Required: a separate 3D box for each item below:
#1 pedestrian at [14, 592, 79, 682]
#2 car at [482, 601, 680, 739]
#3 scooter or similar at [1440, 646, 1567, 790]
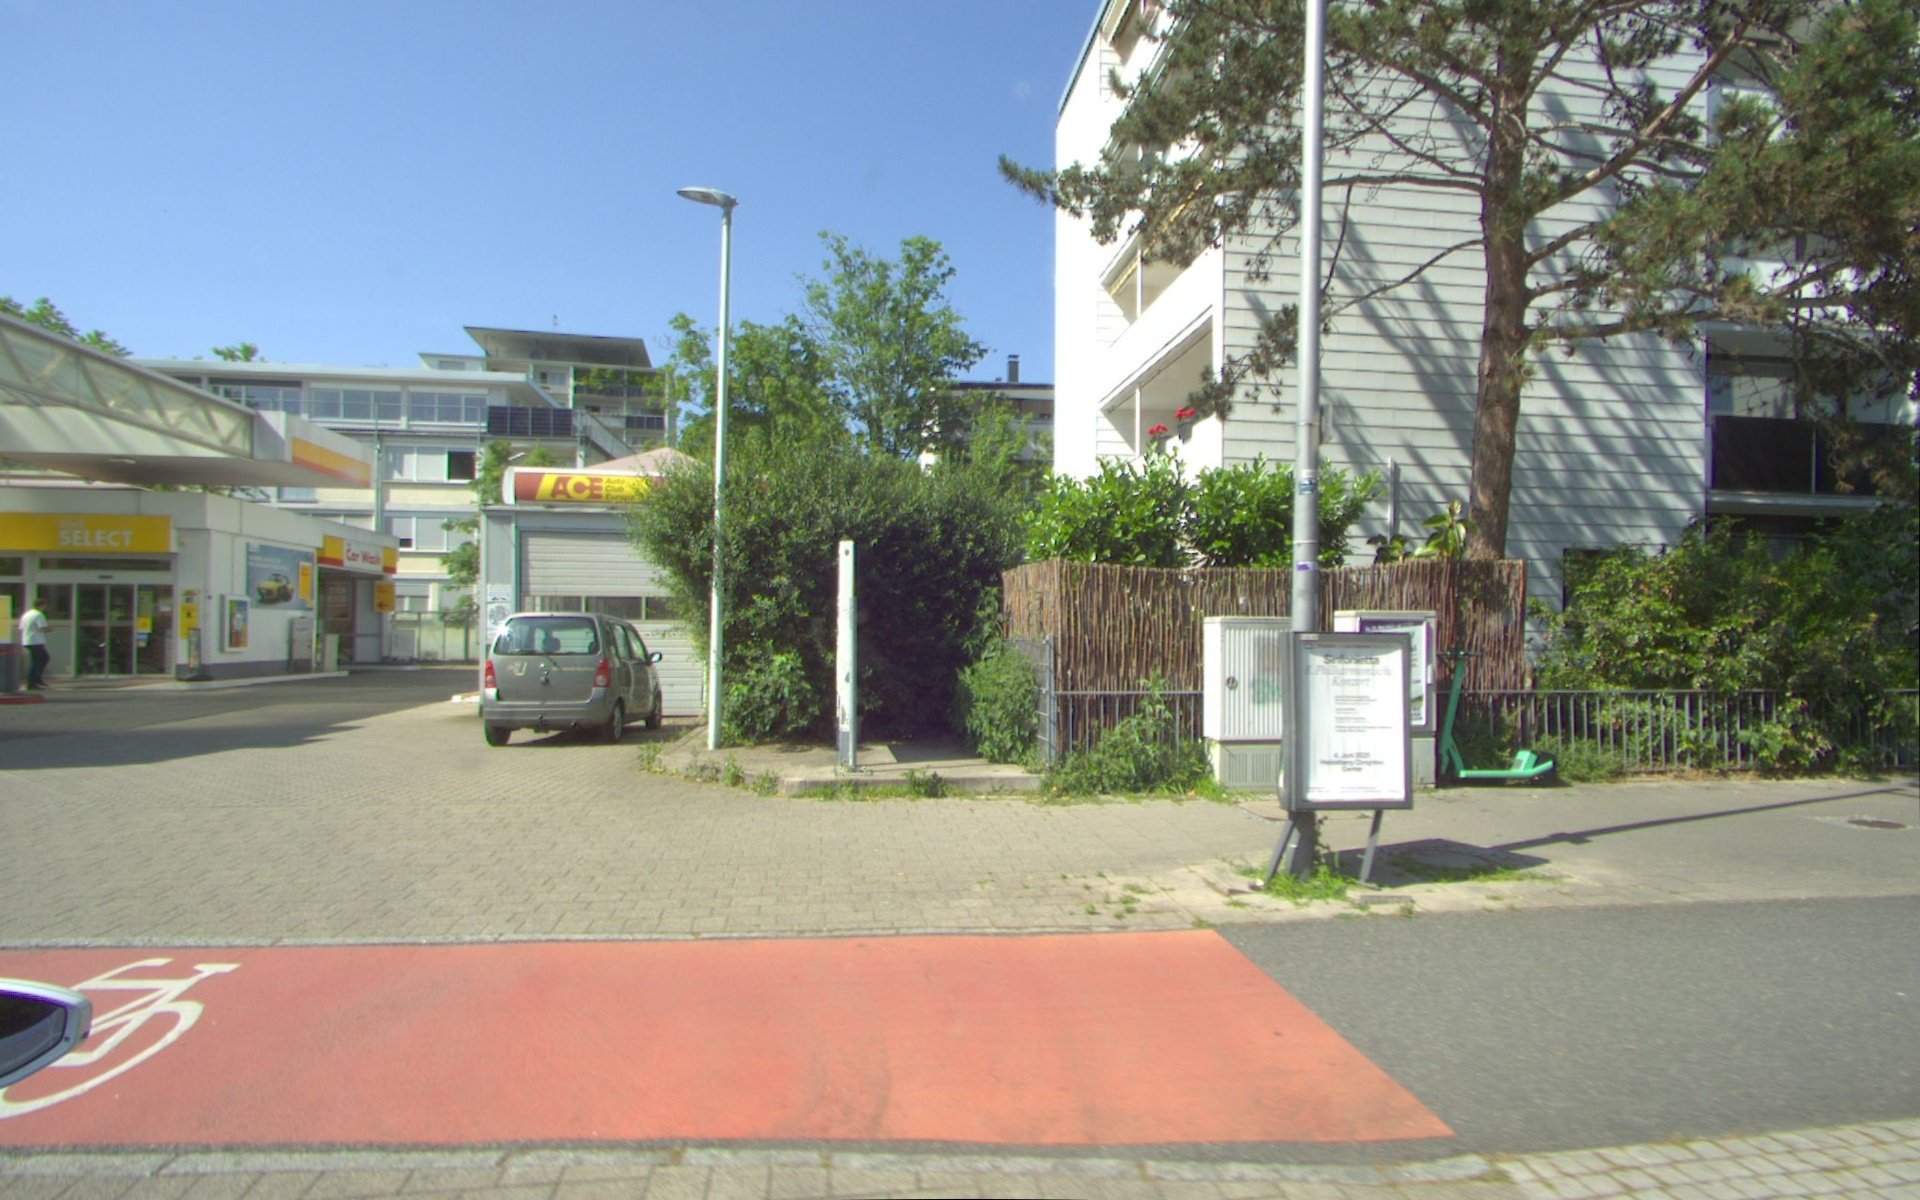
[{"bbox_3d":[-19.523,0.797,21.417,0.846,1.861,0.742,1,-2,-30],"label":"pedestrian"},{"bbox_3d":[-5.010,0.906,13.772,1.559,1.616,3.834,1,-2,-5],"label":"car"},{"bbox_3d":[4.553,0.981,8.407,0.939,1.181,0.231,1,-1,0],"label":"scooter or similar"}]
